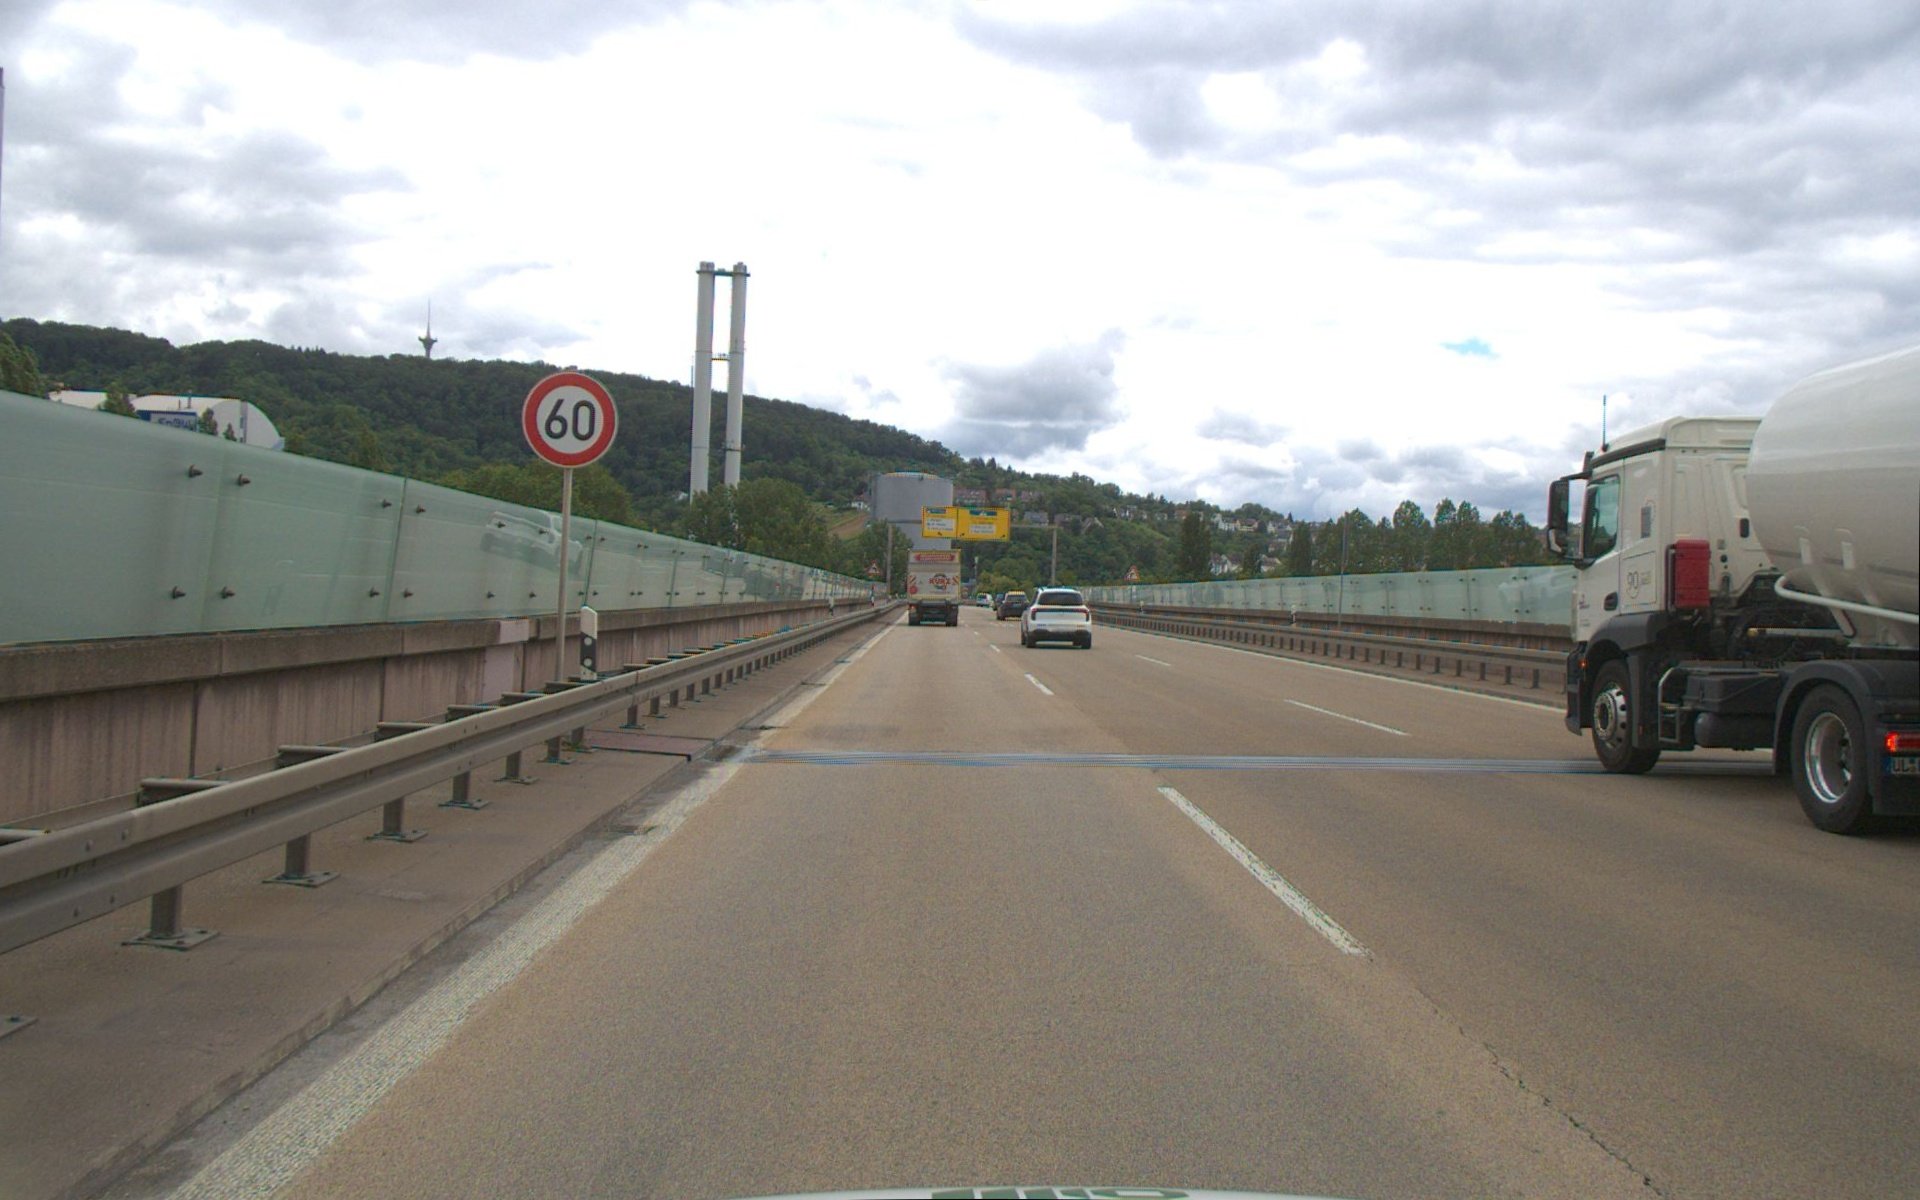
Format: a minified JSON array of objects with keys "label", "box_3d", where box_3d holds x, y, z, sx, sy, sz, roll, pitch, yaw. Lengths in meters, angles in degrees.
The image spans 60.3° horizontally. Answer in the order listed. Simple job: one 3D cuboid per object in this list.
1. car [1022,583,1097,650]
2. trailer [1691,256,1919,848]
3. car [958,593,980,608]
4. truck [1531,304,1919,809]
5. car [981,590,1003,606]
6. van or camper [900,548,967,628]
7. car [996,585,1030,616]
[{"label":"car","box_3d":[2.841,0.439,47.956,1.884,1.816,4.113,1,0,-1]},{"label":"trailer","box_3d":[7.173,-0.283,7.515,2.596,3.605,11.218,1,0,-1]},{"label":"car","box_3d":[1.231,0.074,231.020,2.420,2.014,5.164,1,0,8]},{"label":"truck","box_3d":[7.088,-0.304,14.227,2.577,3.575,4.903,1,0,-1]},{"label":"car","box_3d":[2.952,-0.206,151.970,1.884,1.459,4.114,1,0,2]},{"label":"van or camper","box_3d":[-1.216,-0.554,80.893,3.058,3.642,8.549,1,0,0]},{"label":"car","box_3d":[3.215,0.018,100.624,1.884,1.816,4.113,1,0,-1]}]
